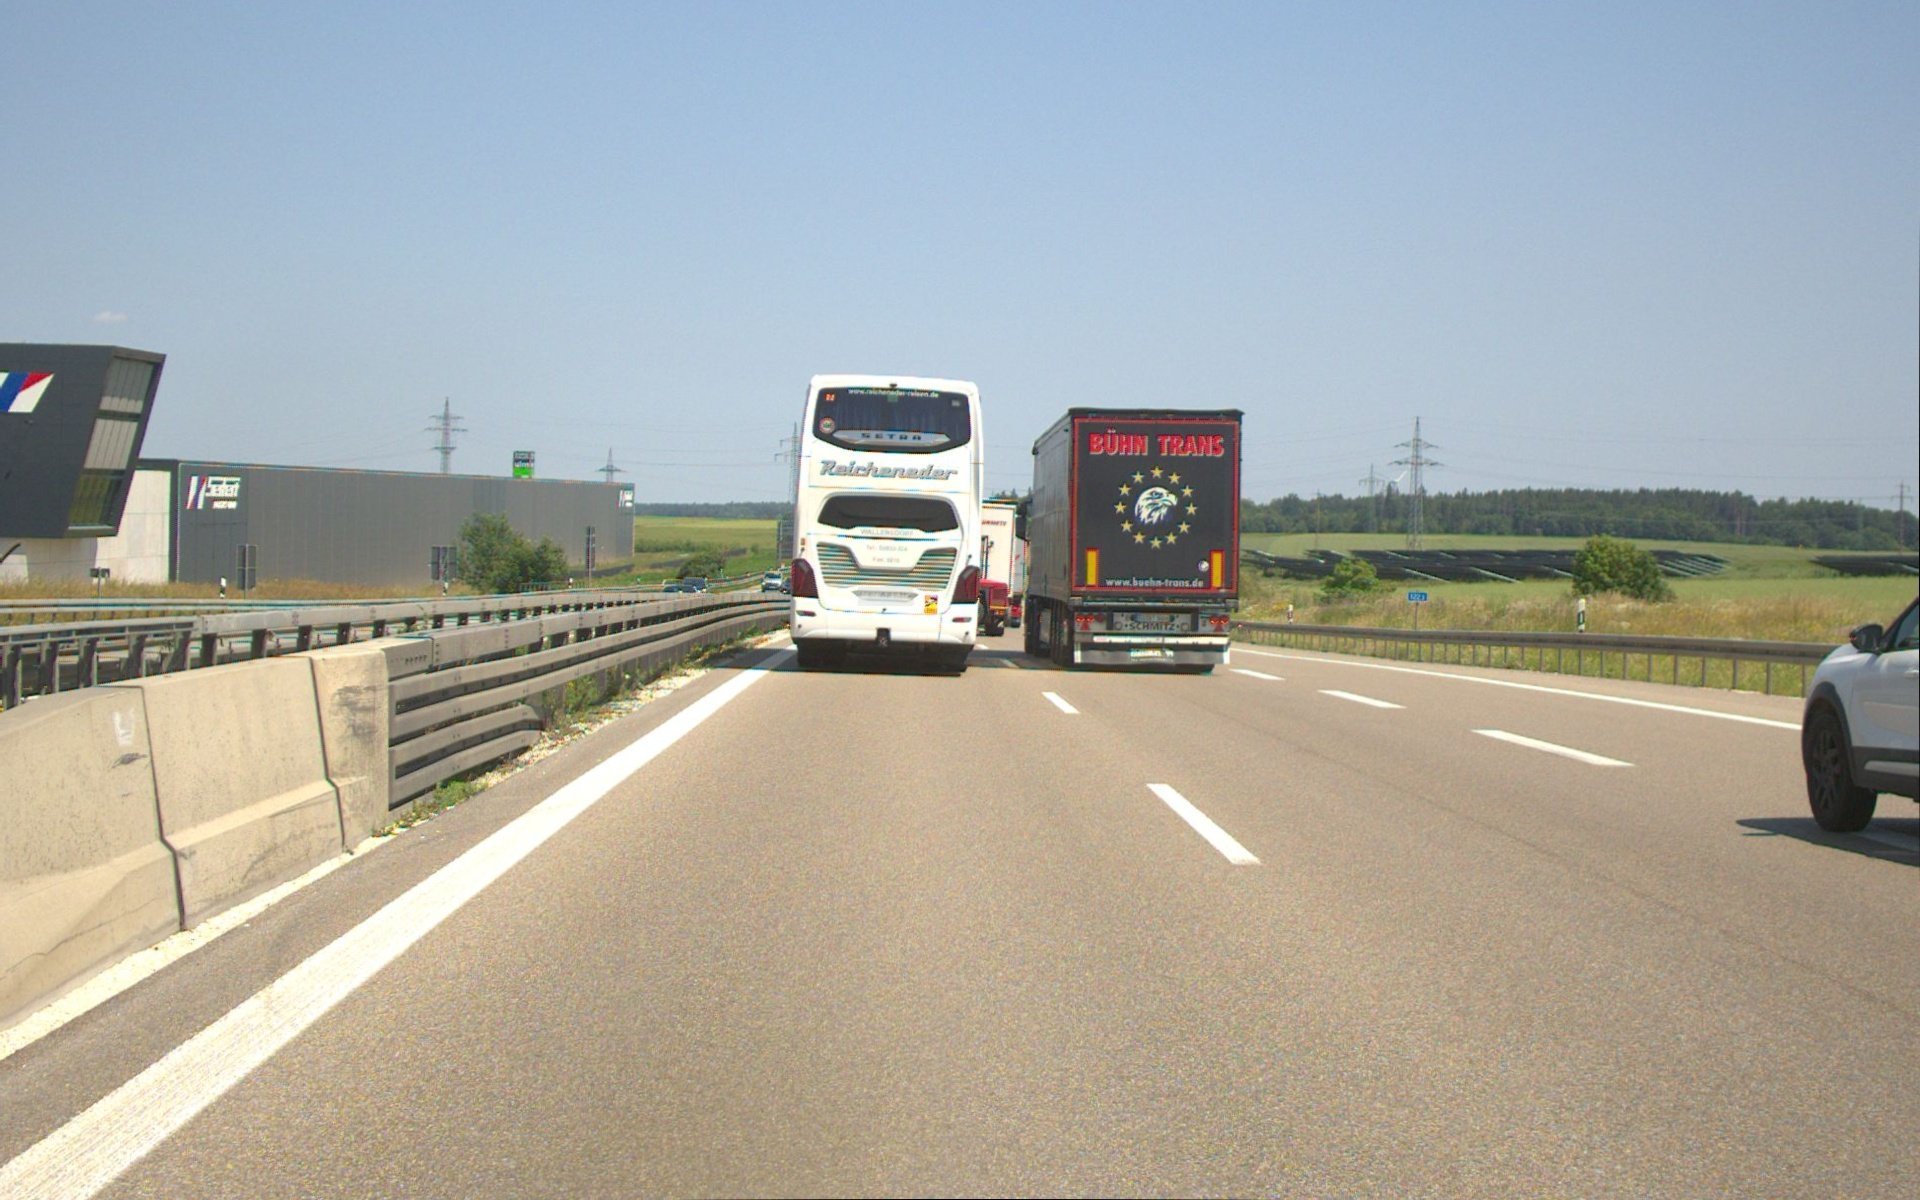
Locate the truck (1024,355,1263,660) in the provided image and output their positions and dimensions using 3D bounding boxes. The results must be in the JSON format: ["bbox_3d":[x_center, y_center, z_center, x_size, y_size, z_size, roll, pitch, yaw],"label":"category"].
[{"bbox_3d":[2.833,-1.315,57.484,3.379,4.448,13.567,1,0,1],"label":"truck"}]

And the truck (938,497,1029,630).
[{"bbox_3d":[0.647,-1.087,101.794,2.437,3.776,6.494,0,1,-2],"label":"truck"}]

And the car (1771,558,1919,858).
[{"bbox_3d":[5.845,0.556,18.241,1.891,1.524,4.262,0,1,-3],"label":"car"}]

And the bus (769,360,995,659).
[{"bbox_3d":[-1.198,-1.383,50.290,2.980,3.961,9.106,0,2,-2],"label":"bus"}]

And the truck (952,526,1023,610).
[{"bbox_3d":[1.114,-1.359,143.496,2.582,3.389,8.685,0,1,-2],"label":"truck"}]
